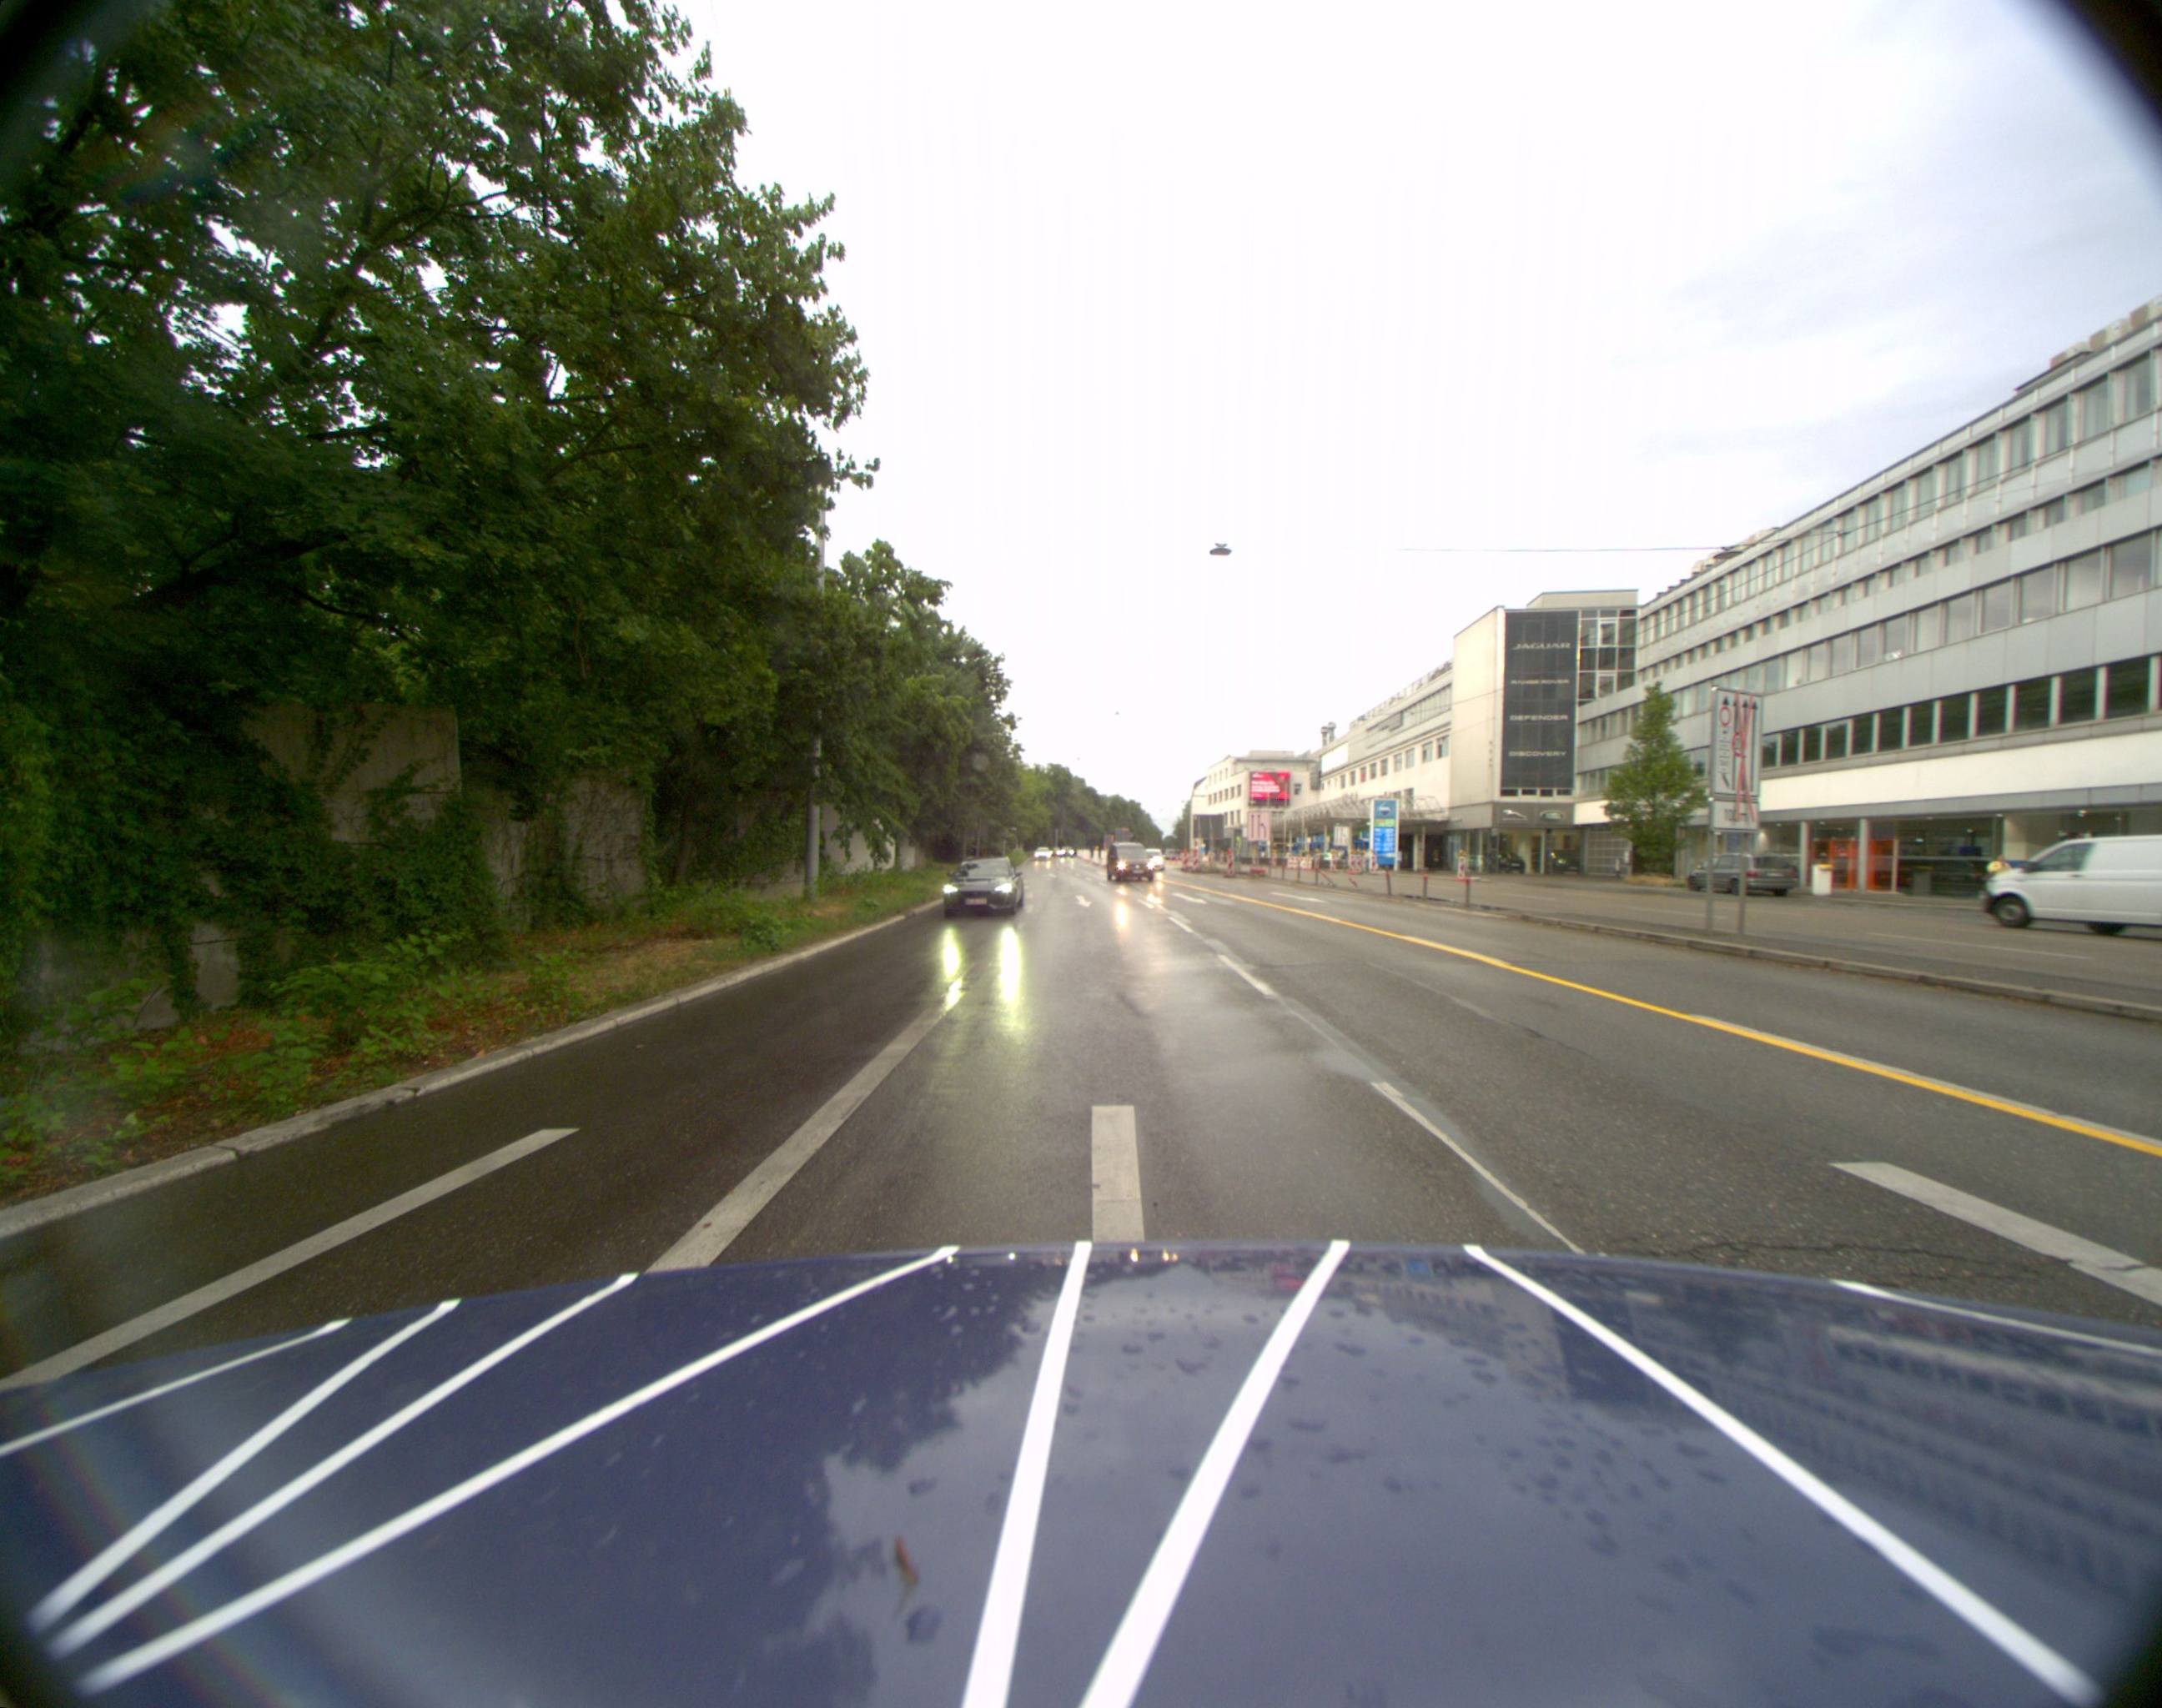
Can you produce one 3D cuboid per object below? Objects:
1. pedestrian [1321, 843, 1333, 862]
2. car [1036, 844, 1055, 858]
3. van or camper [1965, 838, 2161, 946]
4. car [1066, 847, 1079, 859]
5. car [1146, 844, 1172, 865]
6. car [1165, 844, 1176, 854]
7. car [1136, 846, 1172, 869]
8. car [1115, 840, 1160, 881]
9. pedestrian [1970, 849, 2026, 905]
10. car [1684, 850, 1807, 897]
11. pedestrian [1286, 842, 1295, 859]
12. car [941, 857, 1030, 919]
[{"bbox_3d":[23.871,-0.172,73.709,0.895,1.804,0.941,-2,1,5],"label":"pedestrian"},{"bbox_3d":[-4.082,-0.352,87.083,1.814,1.444,4.333,-2,1,2],"label":"car"},{"bbox_3d":[20.212,0.672,14.324,1.939,1.913,4.686,0,1,7],"label":"van or camper"},{"bbox_3d":[-1.197,-0.176,110.504,1.814,1.590,4.333,-2,1,1],"label":"car"},{"bbox_3d":[6.300,0.001,61.426,1.771,1.608,3.949,-2,1,2],"label":"car"},{"bbox_3d":[15.208,-0.823,129.344,1.608,1.635,3.379,-2,1,2],"label":"car"},{"bbox_3d":[5.041,0.221,52.124,1.769,1.407,4.337,-2,1,14],"label":"car"},{"bbox_3d":[2.632,0.279,36.573,1.905,1.804,4.430,-2,1,2],"label":"car"},{"bbox_3d":[29.778,0.742,24.686,0.761,1.765,0.864,-2,1,8],"label":"pedestrian"},{"bbox_3d":[28.315,0.769,32.571,1.922,1.805,4.166,-2,1,6],"label":"car"},{"bbox_3d":[23.229,-0.369,84.354,0.894,1.804,0.942,-2,1,14],"label":"pedestrian"},{"bbox_3d":[-2.421,0.833,20.356,1.753,1.395,4.414,-3,0,0],"label":"car"}]
